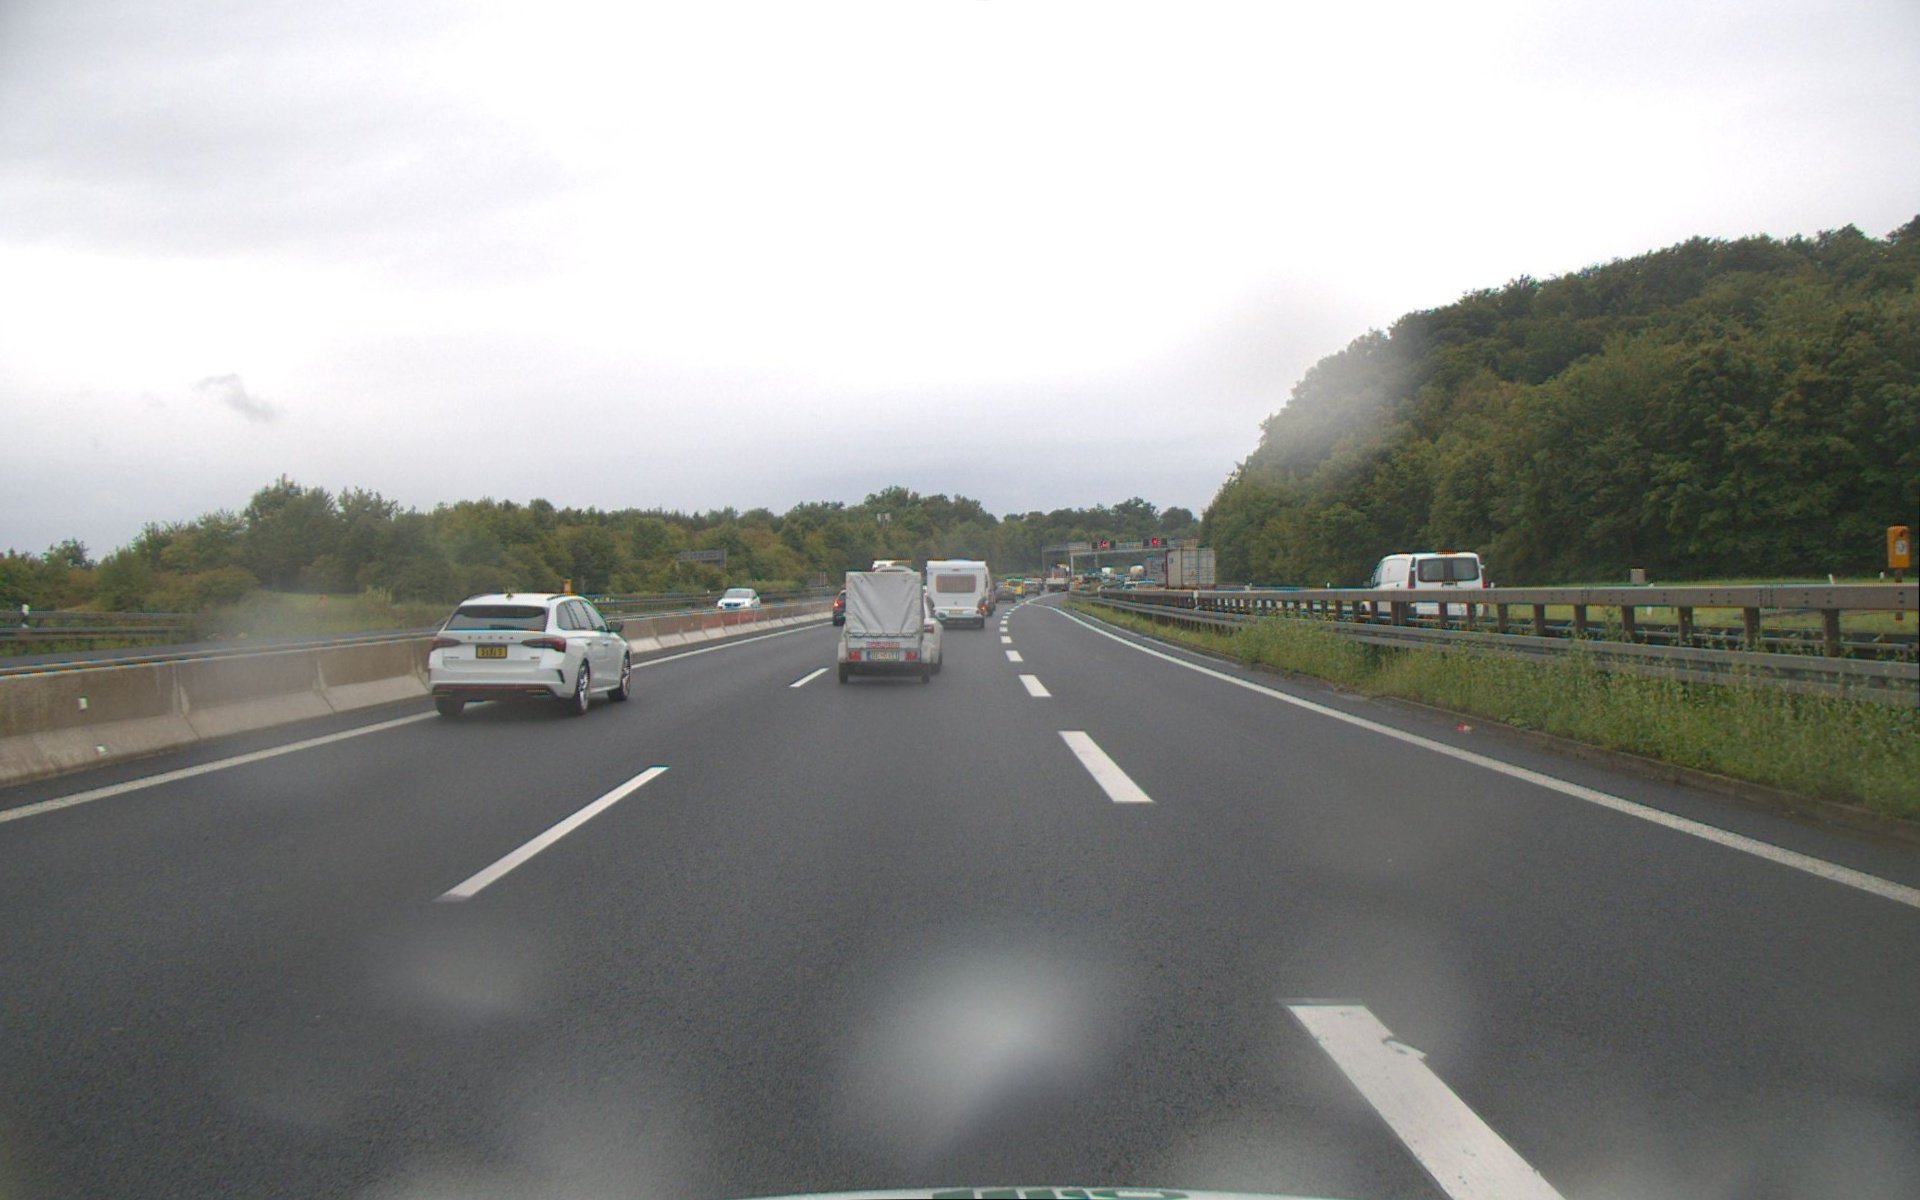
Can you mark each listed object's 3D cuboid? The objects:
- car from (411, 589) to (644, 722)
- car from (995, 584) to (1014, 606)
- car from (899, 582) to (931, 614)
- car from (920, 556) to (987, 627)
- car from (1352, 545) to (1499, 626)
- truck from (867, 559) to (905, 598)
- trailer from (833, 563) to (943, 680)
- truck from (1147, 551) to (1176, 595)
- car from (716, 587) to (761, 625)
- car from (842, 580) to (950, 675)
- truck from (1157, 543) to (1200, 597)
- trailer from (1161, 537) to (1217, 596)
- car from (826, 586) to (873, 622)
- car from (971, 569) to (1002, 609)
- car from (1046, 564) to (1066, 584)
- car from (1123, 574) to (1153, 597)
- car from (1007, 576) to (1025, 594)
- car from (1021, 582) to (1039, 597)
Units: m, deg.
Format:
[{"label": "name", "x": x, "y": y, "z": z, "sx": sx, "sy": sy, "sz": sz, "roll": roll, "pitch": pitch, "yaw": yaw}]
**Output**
[{"label": "car", "x": -5.370, "y": 0.639, "z": 21.202, "sx": 1.781, "sy": 1.481, "sz": 4.777, "roll": -1, "pitch": 0, "yaw": -1}, {"label": "car", "x": 3.888, "y": -0.437, "z": 143.647, "sx": 1.641, "sy": 1.844, "sz": 4.001, "roll": -1, "pitch": 0, "yaw": 2}, {"label": "car", "x": -2.783, "y": -0.100, "z": 103.242, "sx": 1.953, "sy": 1.952, "sz": 3.999, "roll": -1, "pitch": 0, "yaw": -1}, {"label": "car", "x": -0.193, "y": -0.300, "z": 64.758, "sx": 2.456, "sy": 2.630, "sz": 5.700, "roll": -1, "pitch": 0, "yaw": 1}, {"label": "car", "x": 10.572, "y": -0.302, "z": 37.917, "sx": 1.870, "sy": 1.723, "sz": 4.717, "roll": -1, "pitch": 0, "yaw": -2}, {"label": "truck", "x": -8.336, "y": -2.372, "z": 188.442, "sx": 2.728, "sy": 4.164, "sz": 12.306, "roll": -1, "pitch": 0, "yaw": 5}, {"label": "trailer", "x": -1.176, "y": 0.342, "z": 28.411, "sx": 1.641, "sy": 1.844, "sz": 4.000, "roll": -1, "pitch": 0, "yaw": 1}, {"label": "truck", "x": 22.970, "y": -3.009, "z": 189.073, "sx": 3.147, "sy": 4.748, "sz": 13.041, "roll": -1, "pitch": 0, "yaw": 6}, {"label": "car", "x": -11.856, "y": 0.332, "z": 88.790, "sx": 1.701, "sy": 1.953, "sz": 4.317, "roll": -1, "pitch": 0, "yaw": 2}, {"label": "car", "x": -1.150, "y": 0.492, "z": 31.661, "sx": 1.781, "sy": 1.644, "sz": 4.778, "roll": -1, "pitch": 0, "yaw": 1}, {"label": "truck", "x": 16.528, "y": -2.226, "z": 125.499, "sx": 2.562, "sy": 3.952, "sz": 6.393, "roll": -1, "pitch": 0, "yaw": 1}, {"label": "trailer", "x": 16.347, "y": -2.290, "z": 118.818, "sx": 2.550, "sy": 3.962, "sz": 12.492, "roll": -1, "pitch": 0, "yaw": 1}, {"label": "car", "x": -4.649, "y": 0.172, "z": 69.778, "sx": 1.641, "sy": 1.481, "sz": 4.000, "roll": -1, "pitch": 0, "yaw": 1}, {"label": "car", "x": 1.463, "y": -0.554, "z": 89.910, "sx": 1.641, "sy": 2.103, "sz": 4.001, "roll": -1, "pitch": 0, "yaw": 2}, {"label": "car", "x": 13.538, "y": -3.636, "z": 232.190, "sx": 2.462, "sy": 2.620, "sz": 5.316, "roll": -1, "pitch": 0, "yaw": 7}, {"label": "car", "x": 11.862, "y": -0.931, "z": 110.341, "sx": 1.632, "sy": 1.407, "sz": 4.127, "roll": -3, "pitch": 0, "yaw": 2}, {"label": "car", "x": 5.853, "y": -1.558, "z": 172.596, "sx": 1.640, "sy": 1.844, "sz": 4.002, "roll": -1, "pitch": 0, "yaw": 5}, {"label": "car", "x": 8.308, "y": -1.204, "z": 195.693, "sx": 1.994, "sy": 1.712, "sz": 4.002, "roll": -1, "pitch": 0, "yaw": 4}]
